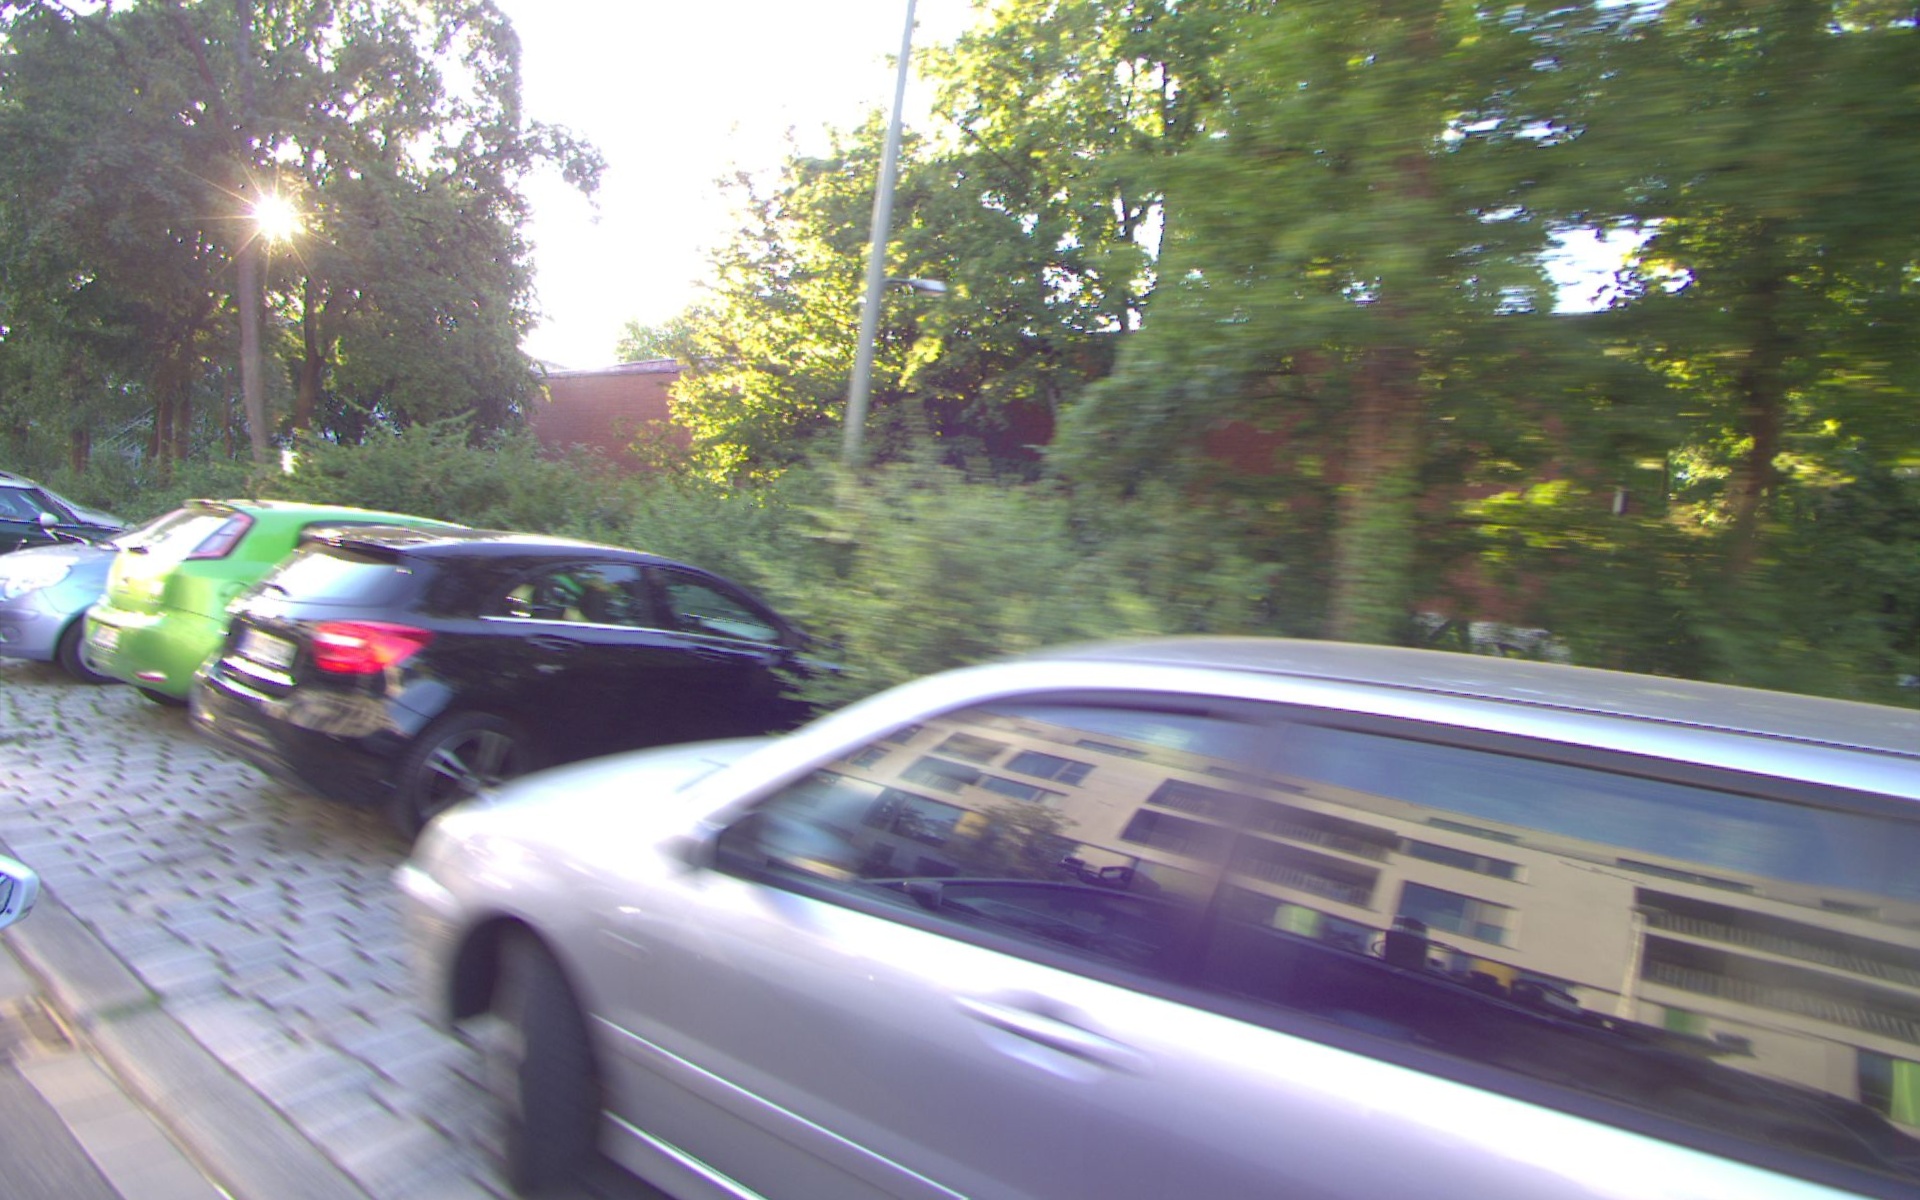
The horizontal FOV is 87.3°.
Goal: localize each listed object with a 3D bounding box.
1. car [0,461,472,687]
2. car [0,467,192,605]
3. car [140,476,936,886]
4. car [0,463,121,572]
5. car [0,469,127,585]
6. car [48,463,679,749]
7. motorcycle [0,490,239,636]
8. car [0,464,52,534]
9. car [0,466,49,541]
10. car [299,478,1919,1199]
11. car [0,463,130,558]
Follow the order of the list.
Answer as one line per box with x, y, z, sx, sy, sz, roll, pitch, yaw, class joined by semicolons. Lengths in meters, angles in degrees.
-6.379;-0.133;8.733;1.645;1.544;3.387;7;0;34;car
-11.717;-0.832;12.081;1.645;1.546;3.607;8;3;34;car
-2.070;0.387;5.964;1.712;1.531;3.949;8;1;35;car
-15.434;-1.376;15.382;1.707;1.574;3.663;8;3;34;car
-13.662;-1.075;13.357;1.707;1.464;3.663;8;3;34;car
-4.188;0.119;7.565;1.646;1.559;3.627;8;0;36;car
-8.856;-0.357;10.411;0.767;1.321;2.087;8;2;42;motorcycle
-23.020;-2.423;22.446;1.804;1.495;3.802;7;3;36;car
-21.149;-2.125;20.320;1.729;1.495;3.802;7;3;36;car
0.420;0.726;2.362;4.231;1.587;1.651;7;1;33;car
-17.085;-1.655;17.532;1.792;1.519;3.720;7;3;36;car
